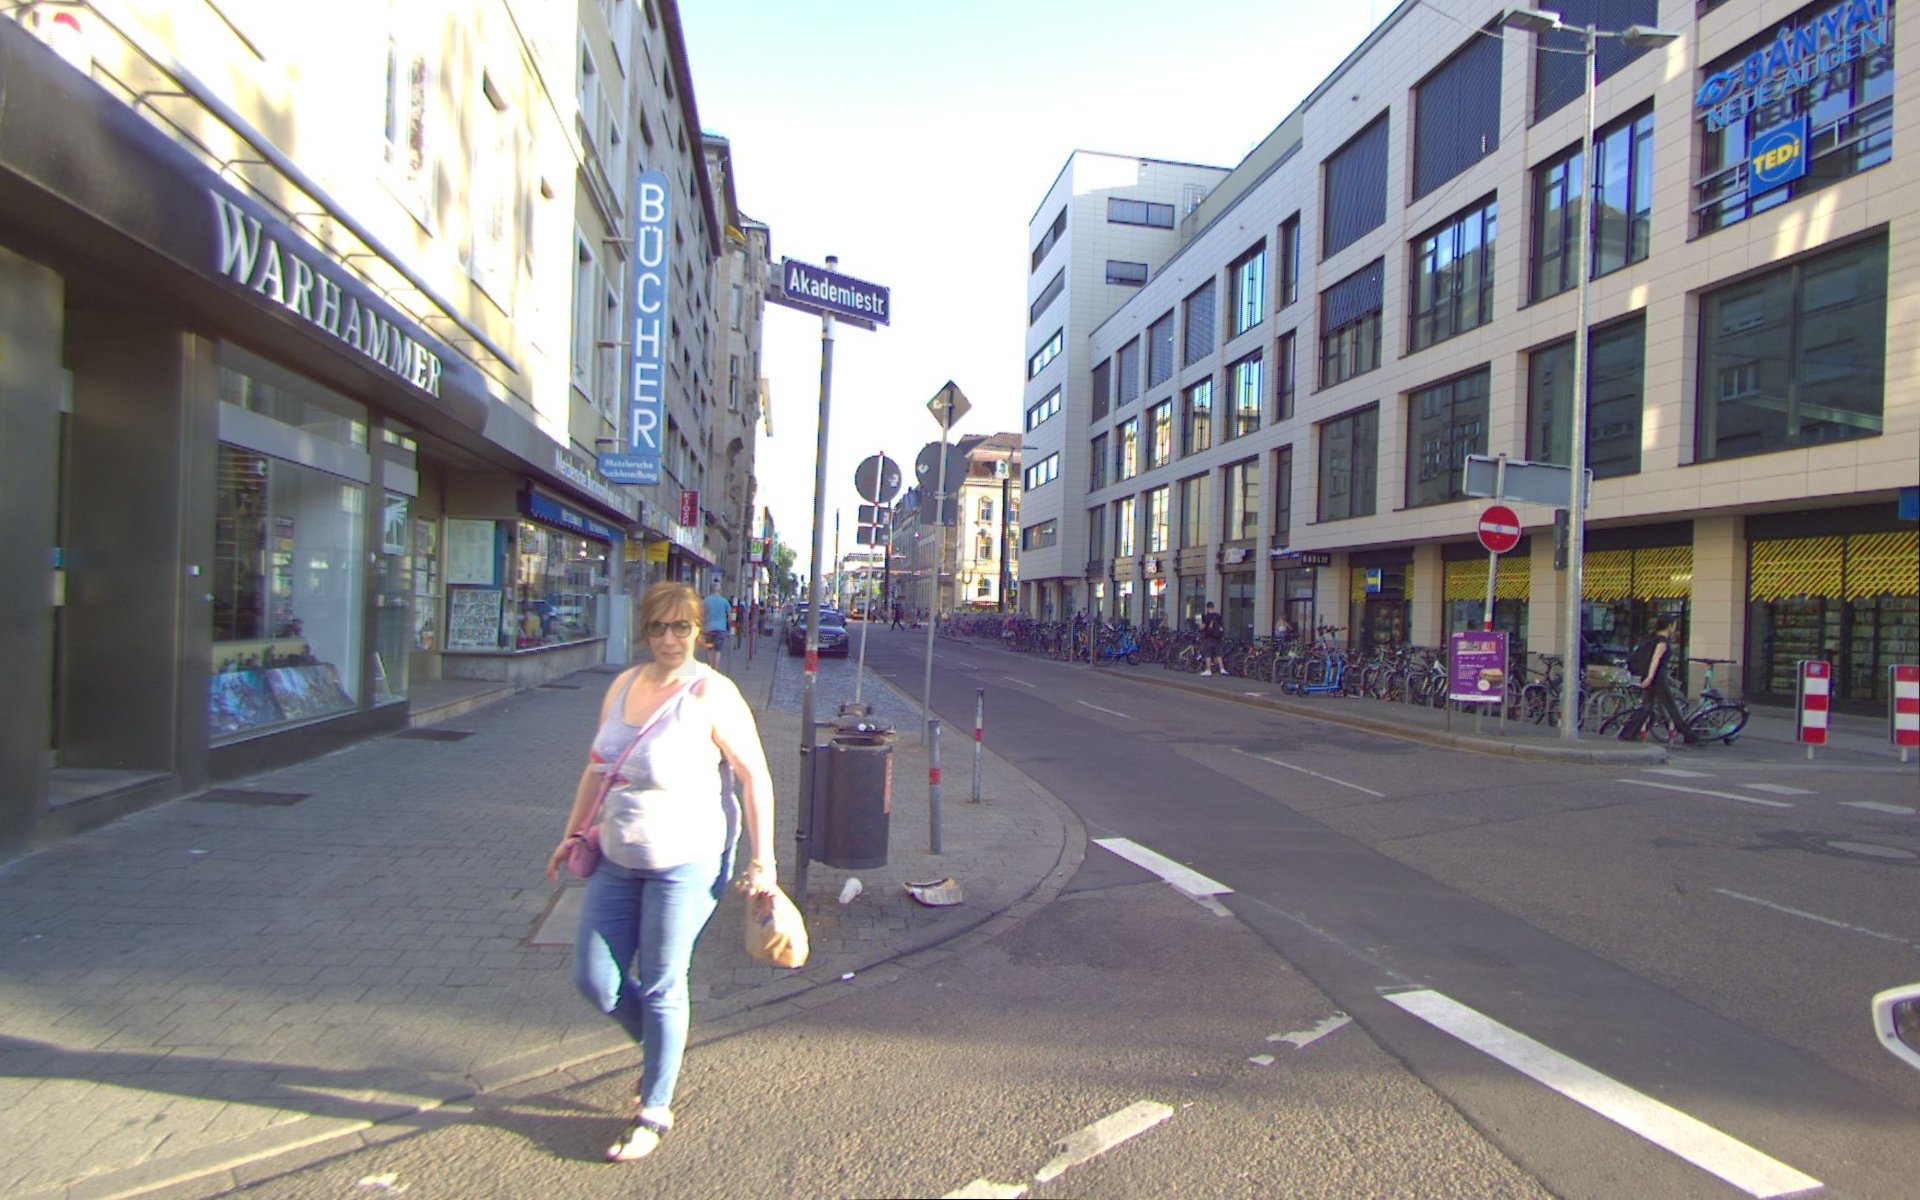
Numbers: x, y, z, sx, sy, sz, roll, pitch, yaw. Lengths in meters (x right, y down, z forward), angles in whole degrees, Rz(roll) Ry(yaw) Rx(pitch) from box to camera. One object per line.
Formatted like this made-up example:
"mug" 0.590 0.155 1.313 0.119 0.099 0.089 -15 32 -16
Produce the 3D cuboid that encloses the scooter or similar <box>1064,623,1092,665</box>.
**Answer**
"scooter or similar" 3.572 1.333 30.515 0.506 1.196 1.269 3 0 -7

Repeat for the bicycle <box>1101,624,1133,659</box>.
"bicycle" 6.081 1.610 39.059 0.504 1.271 1.974 3 0 -12

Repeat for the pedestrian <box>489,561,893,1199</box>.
"pedestrian" -0.731 0.733 2.894 0.789 1.634 0.735 2 -1 20

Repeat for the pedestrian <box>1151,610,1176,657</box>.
"pedestrian" 7.653 1.260 37.775 0.672 1.718 0.643 2 0 -11

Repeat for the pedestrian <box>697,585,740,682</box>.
"pedestrian" -4.401 0.605 18.358 0.653 1.730 0.802 2 -1 -10

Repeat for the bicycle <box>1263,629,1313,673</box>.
"bicycle" 10.444 1.607 32.063 0.602 1.271 1.975 3 0 -10

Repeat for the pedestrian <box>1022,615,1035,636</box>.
"pedestrian" 4.742 1.750 69.460 0.672 1.444 0.643 2 0 -11

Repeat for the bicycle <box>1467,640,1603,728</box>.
"bicycle" 8.929 1.303 15.599 1.944 1.271 0.512 3 0 -12

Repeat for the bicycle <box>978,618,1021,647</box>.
"bicycle" 1.850 1.530 47.079 1.948 1.271 0.511 3 0 -19

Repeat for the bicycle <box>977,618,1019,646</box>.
"bicycle" 1.844 1.540 48.679 1.948 1.271 0.511 3 0 -19

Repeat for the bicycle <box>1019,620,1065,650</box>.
"bicycle" 3.715 1.597 45.524 1.944 1.271 0.512 3 0 -12

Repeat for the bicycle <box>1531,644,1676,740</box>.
"bicycle" 9.117 1.305 14.231 1.945 1.271 0.512 3 0 -14

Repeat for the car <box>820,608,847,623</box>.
"car" -12.685 1.529 100.501 1.969 1.372 3.984 2 -1 -18

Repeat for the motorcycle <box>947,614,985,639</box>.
"motorcycle" 0.342 1.459 54.808 1.948 1.271 0.511 3 0 -19

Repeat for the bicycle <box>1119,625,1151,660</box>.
"bicycle" 6.829 1.637 39.263 0.504 1.271 1.974 3 0 -12

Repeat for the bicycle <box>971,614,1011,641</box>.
"bicycle" 1.572 1.407 50.683 1.948 1.271 0.511 3 0 -19

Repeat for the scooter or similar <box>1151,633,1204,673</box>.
"scooter or similar" 5.530 1.354 25.564 1.248 0.954 0.387 3 0 -12

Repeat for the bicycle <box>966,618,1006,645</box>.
"bicycle" 1.330 1.606 51.379 1.948 1.271 0.511 3 0 -19

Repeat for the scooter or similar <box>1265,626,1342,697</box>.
"scooter or similar" 6.190 1.107 18.128 1.248 1.228 0.387 3 0 -12

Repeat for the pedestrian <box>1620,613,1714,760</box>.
"pedestrian" 8.552 1.018 12.149 0.858 1.680 0.616 2 0 38

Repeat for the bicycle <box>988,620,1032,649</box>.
"bicycle" 2.307 1.588 46.147 1.948 1.271 0.511 3 0 -19

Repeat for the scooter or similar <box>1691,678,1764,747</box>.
"scooter or similar" 10.662 1.563 13.963 0.756 0.896 0.387 3 0 -12

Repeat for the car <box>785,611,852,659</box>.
"car" -4.696 1.111 32.903 1.831 1.409 3.990 2 -1 -13

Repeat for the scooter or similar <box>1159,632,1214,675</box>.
"scooter or similar" 5.603 1.325 24.888 1.248 1.005 0.387 3 0 -12

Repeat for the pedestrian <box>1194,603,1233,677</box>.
"pedestrian" 6.035 0.948 23.936 0.672 1.718 0.643 2 0 -7

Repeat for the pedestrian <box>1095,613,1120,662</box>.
"pedestrian" 5.283 1.331 36.037 0.672 1.718 0.643 2 0 -11

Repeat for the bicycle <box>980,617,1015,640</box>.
"bicycle" 2.186 1.643 58.056 1.948 1.271 0.511 3 0 -19

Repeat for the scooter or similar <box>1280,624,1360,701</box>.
"scooter or similar" 6.292 1.082 17.552 1.248 1.277 0.387 3 0 -12

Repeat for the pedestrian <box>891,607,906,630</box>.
"pedestrian" -4.057 1.224 65.959 0.907 1.447 0.401 2 -1 -15

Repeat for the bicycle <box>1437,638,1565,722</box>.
"bicycle" 8.814 1.301 16.378 1.945 1.271 0.512 3 0 -13

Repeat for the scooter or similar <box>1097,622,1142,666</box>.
"scooter or similar" 4.823 1.332 30.339 1.248 1.259 0.387 3 0 -12

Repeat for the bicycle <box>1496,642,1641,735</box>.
"bicycle" 8.981 1.307 14.839 1.943 1.271 0.512 3 0 -10

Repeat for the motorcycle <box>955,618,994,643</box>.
"motorcycle" 0.772 1.635 53.504 1.948 1.271 0.511 3 0 -19

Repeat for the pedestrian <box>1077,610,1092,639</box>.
"pedestrian" 7.631 1.484 61.560 0.672 1.718 0.643 2 0 -11

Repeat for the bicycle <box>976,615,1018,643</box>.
"bicycle" 1.839 1.424 49.608 1.948 1.271 0.511 3 0 -19

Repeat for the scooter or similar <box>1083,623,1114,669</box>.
"scooter or similar" 3.922 1.294 28.526 0.506 1.259 1.269 3 0 -7

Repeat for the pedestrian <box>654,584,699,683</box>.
"pedestrian" -5.126 0.593 18.193 0.653 1.730 0.802 2 -1 -10

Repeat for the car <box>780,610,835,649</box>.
"car" -6.146 1.148 40.059 1.831 1.409 4.611 2 -1 -13

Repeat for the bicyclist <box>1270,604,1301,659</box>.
"bicyclist" 10.411 0.997 32.111 0.672 1.718 0.643 2 0 -10
